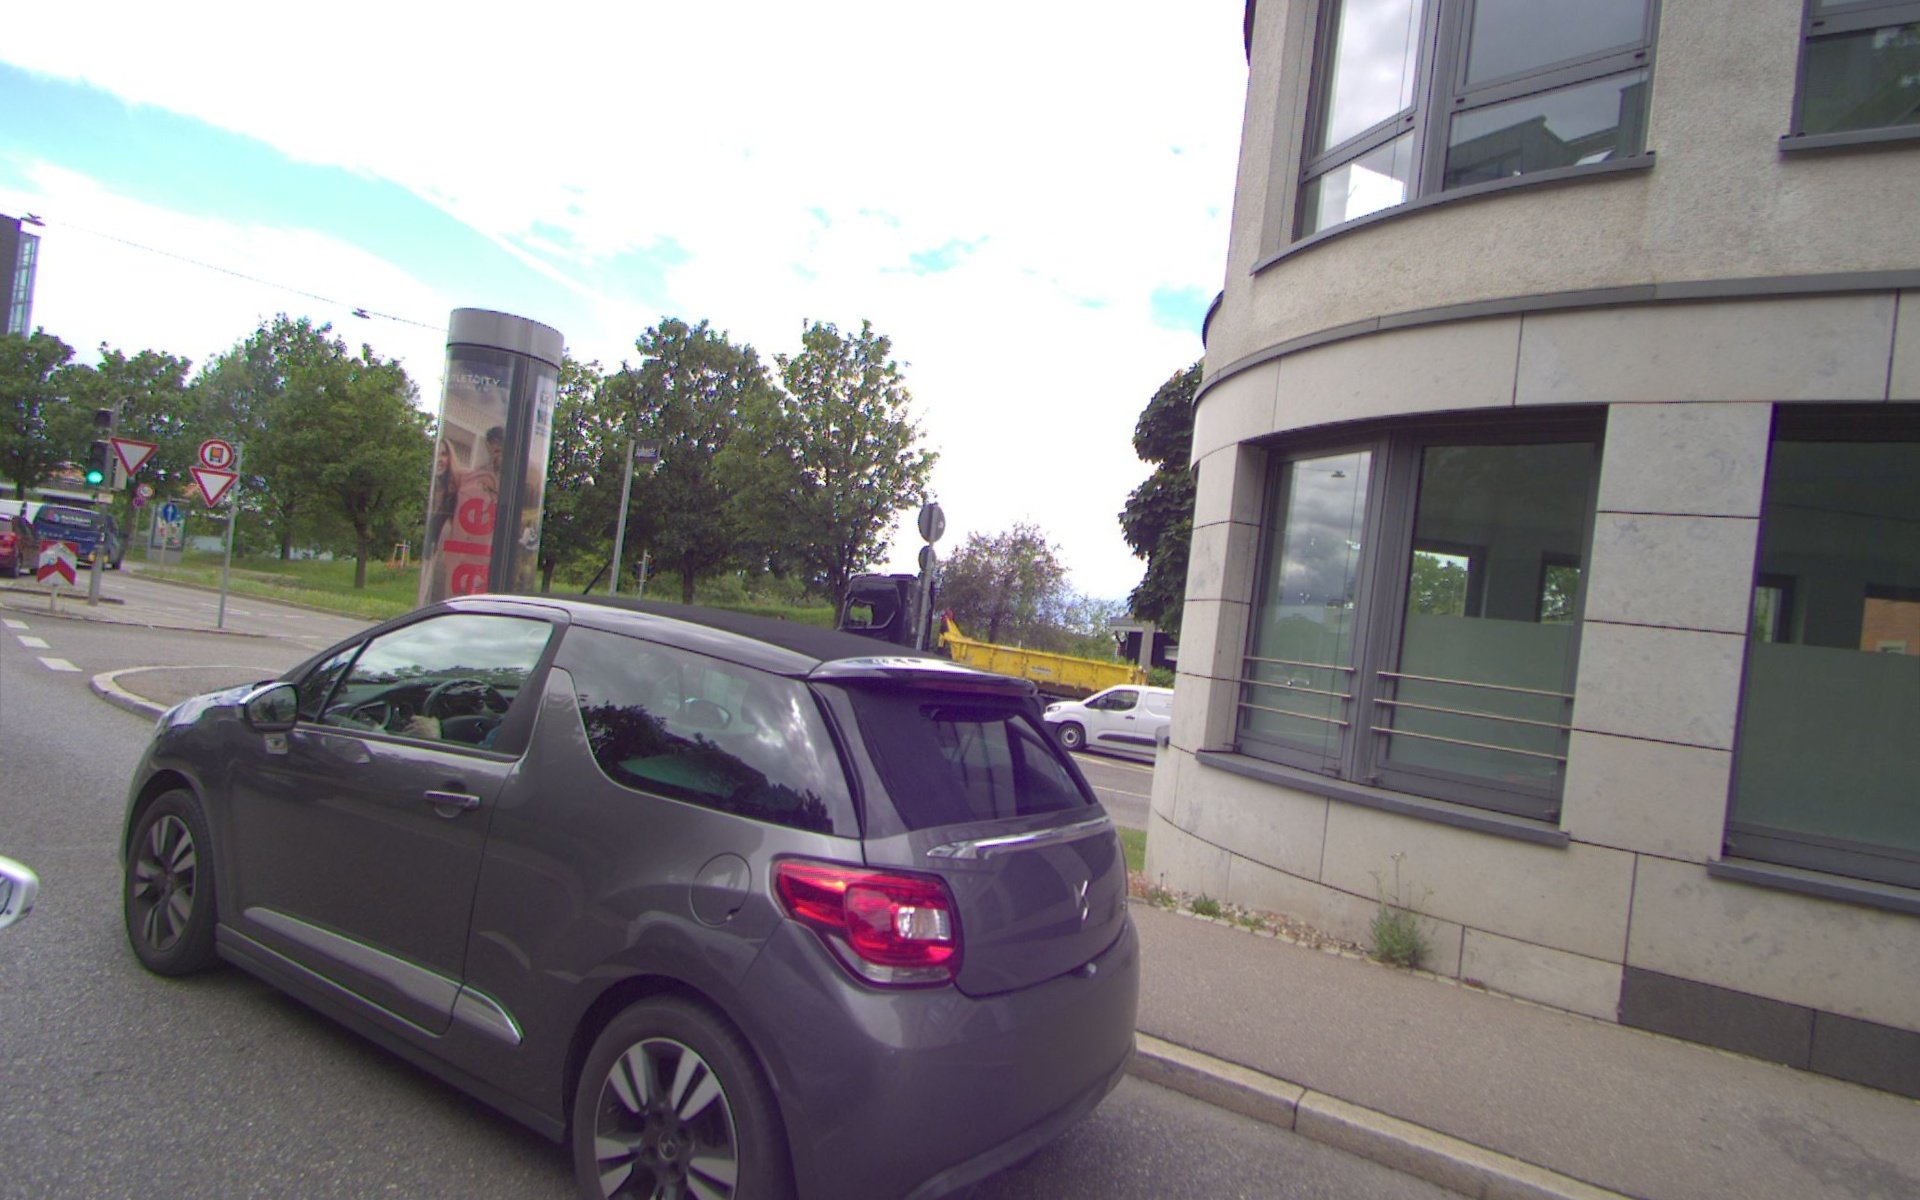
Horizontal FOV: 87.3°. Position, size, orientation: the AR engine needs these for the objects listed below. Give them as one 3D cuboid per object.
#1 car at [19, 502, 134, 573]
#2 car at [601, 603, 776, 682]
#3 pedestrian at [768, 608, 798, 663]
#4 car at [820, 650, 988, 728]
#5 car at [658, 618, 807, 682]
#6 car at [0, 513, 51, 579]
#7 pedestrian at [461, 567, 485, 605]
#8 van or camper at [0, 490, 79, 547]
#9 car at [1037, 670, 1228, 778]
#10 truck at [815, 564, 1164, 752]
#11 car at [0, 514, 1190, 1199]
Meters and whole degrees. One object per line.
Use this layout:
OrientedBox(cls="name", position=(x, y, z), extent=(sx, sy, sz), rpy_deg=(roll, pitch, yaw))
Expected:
OrientedBox(cls="car", position=(-28.984, -1.991, 33.166), extent=(1.890, 1.880, 4.672), rpy_deg=(9, -3, -31))
OrientedBox(cls="car", position=(-7.762, 1.224, 28.797), extent=(4.404, 1.547, 1.858), rpy_deg=(8, -2, 19))
OrientedBox(cls="pedestrian", position=(-6.616, 1.326, 37.584), extent=(0.743, 1.943, 0.587), rpy_deg=(9, 4, 2))
OrientedBox(cls="car", position=(-1.453, 2.321, 26.374), extent=(3.903, 1.389, 1.656), rpy_deg=(8, -2, 19))
OrientedBox(cls="car", position=(-7.305, 1.615, 32.394), extent=(4.081, 1.458, 1.992), rpy_deg=(7, -3, 19))
OrientedBox(cls="car", position=(-24.080, -1.434, 24.960), extent=(1.736, 1.497, 3.683), rpy_deg=(9, -3, -36))
OrientedBox(cls="pedestrian", position=(-21.957, -0.616, 45.368), extent=(0.689, 1.626, 0.542), rpy_deg=(7, 4, 14))
OrientedBox(cls="van or camper", position=(-40.217, -3.571, 43.269), extent=(4.332, 1.940, 1.999), rpy_deg=(7, -1, 29))
OrientedBox(cls="car", position=(4.207, 2.950, 24.389), extent=(4.206, 1.817, 1.758), rpy_deg=(8, -2, 17))
OrientedBox(cls="truck", position=(0.851, 1.589, 29.166), extent=(9.280, 3.969, 2.832), rpy_deg=(7, -2, 18))
OrientedBox(cls="car", position=(-1.460, 0.687, 3.582), extent=(3.994, 1.477, 1.705), rpy_deg=(6, -3, 31))
